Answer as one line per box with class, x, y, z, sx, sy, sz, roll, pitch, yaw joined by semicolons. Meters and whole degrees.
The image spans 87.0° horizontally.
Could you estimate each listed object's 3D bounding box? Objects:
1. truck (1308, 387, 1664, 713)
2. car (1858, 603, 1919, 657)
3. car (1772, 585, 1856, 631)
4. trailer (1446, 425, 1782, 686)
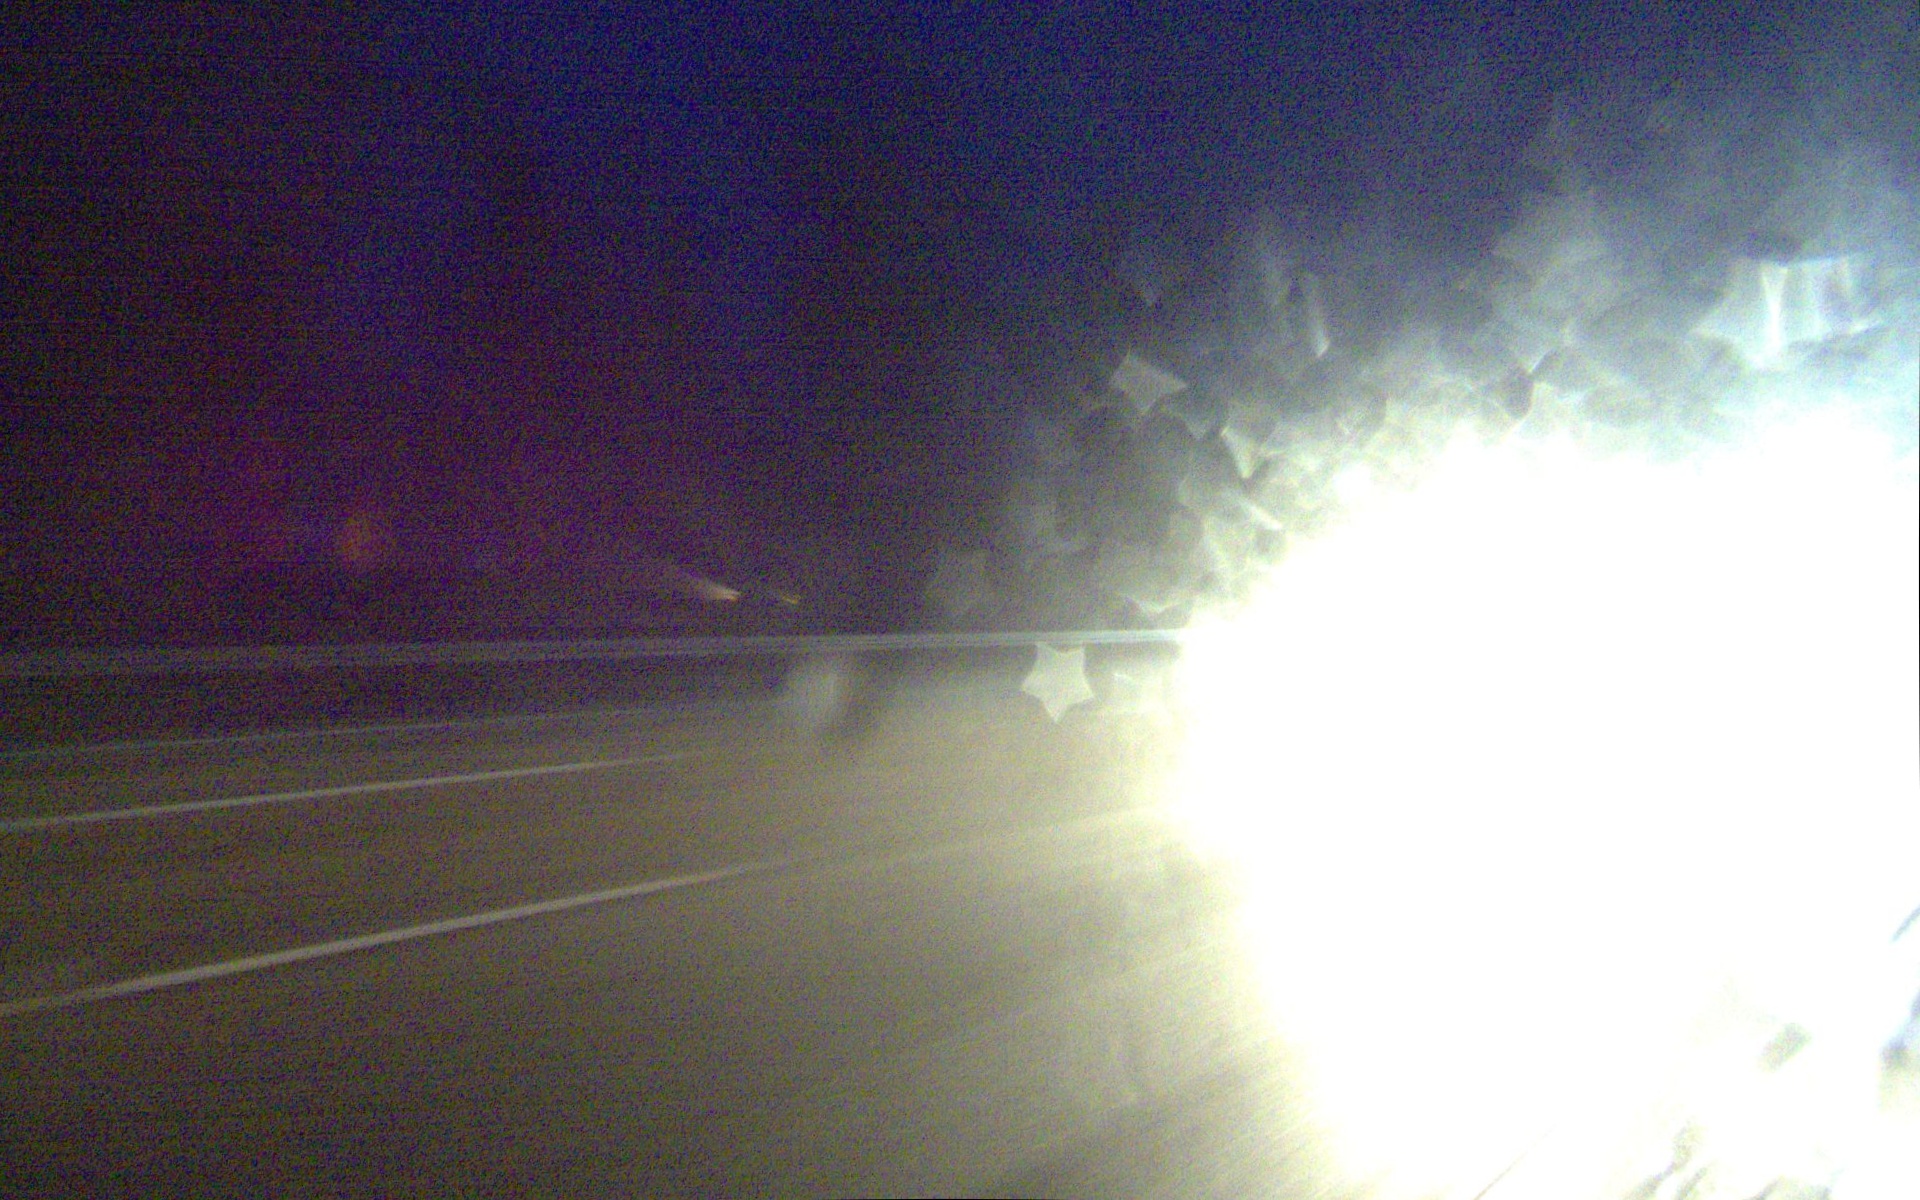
truck;9.020;-0.665;16.914;7.317;4.321;2.808;0;0;-41
car;27.150;0.819;28.951;3.724;1.430;1.616;0;0;-39
car;40.866;0.363;48.403;5.309;1.998;2.052;0;2;-39
trailer;14.358;-0.730;21.499;11.884;4.265;2.808;0;0;-41
